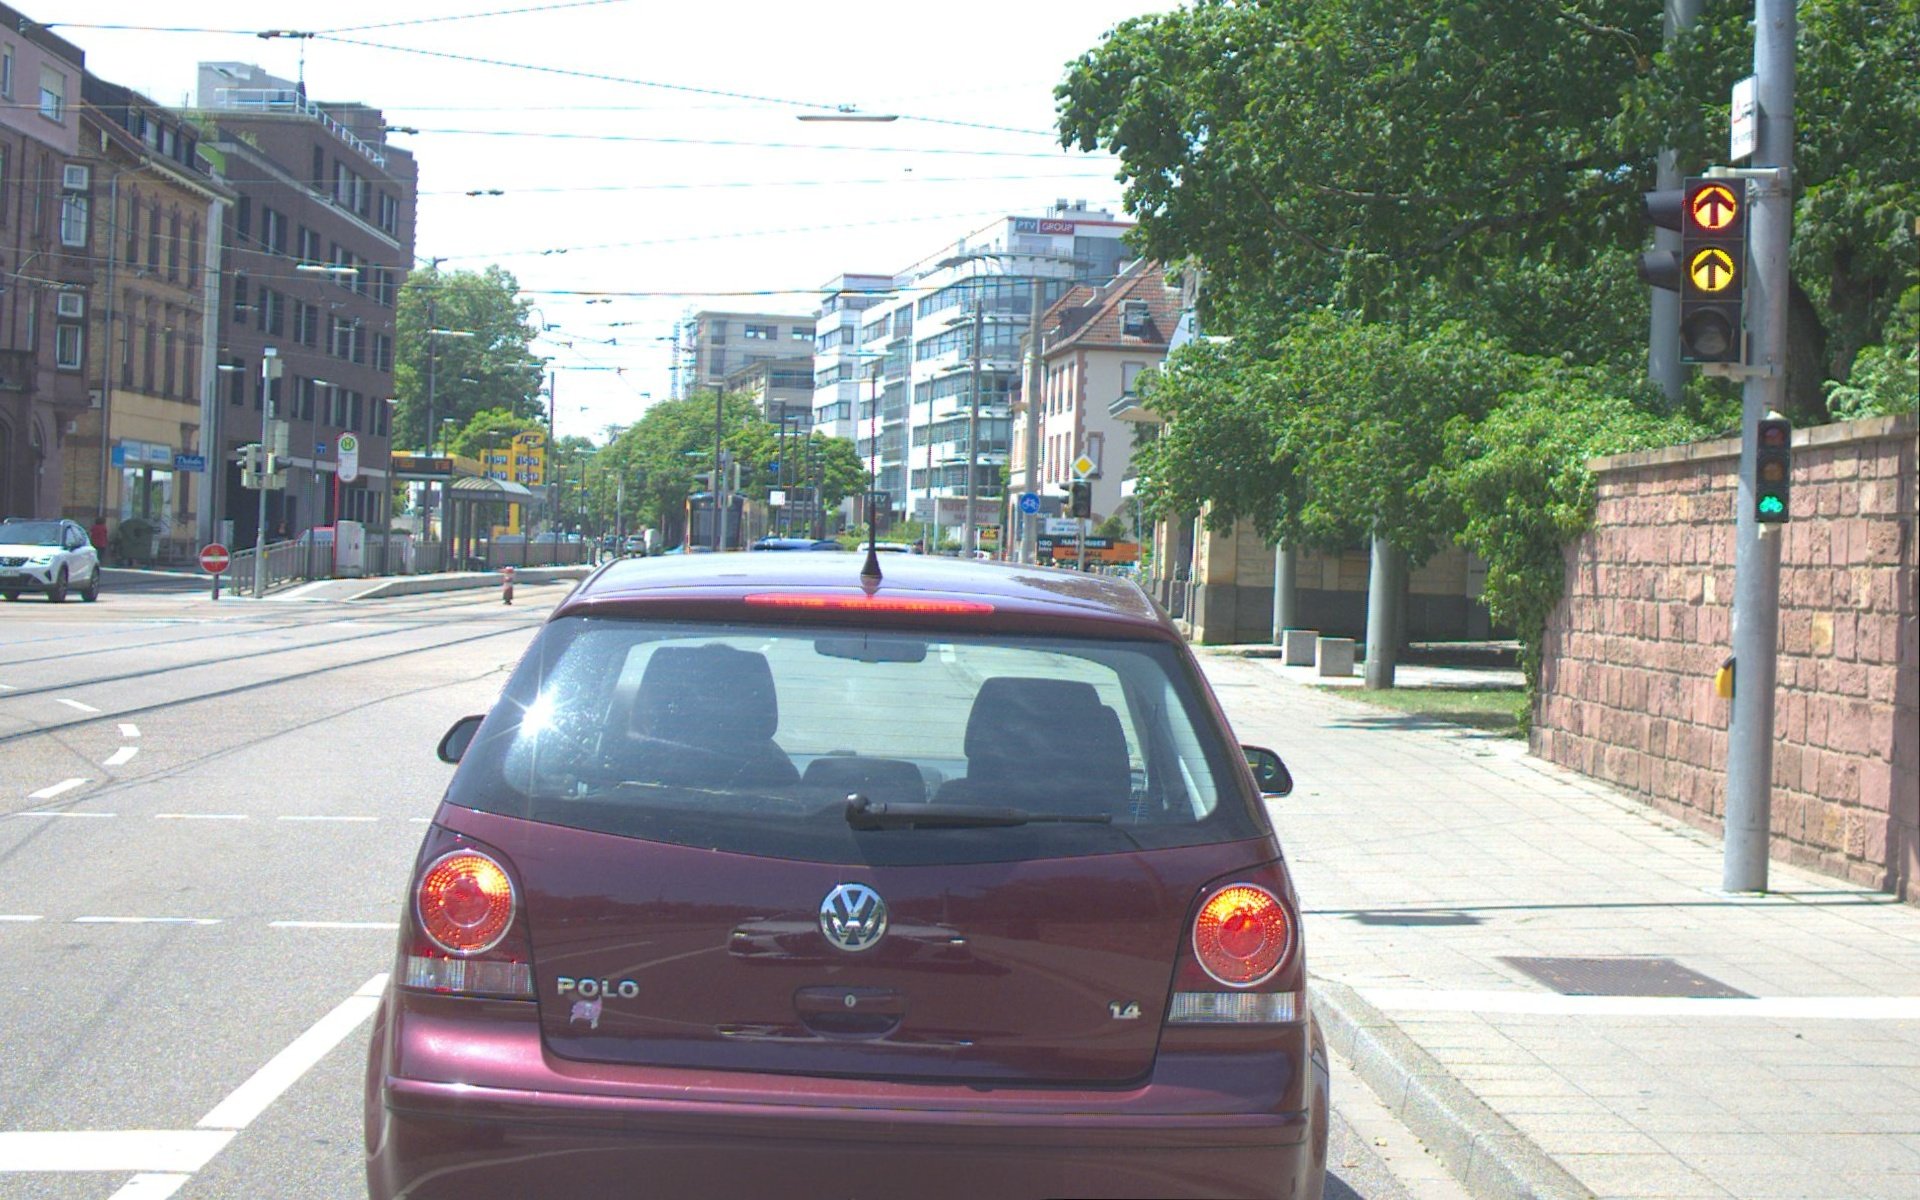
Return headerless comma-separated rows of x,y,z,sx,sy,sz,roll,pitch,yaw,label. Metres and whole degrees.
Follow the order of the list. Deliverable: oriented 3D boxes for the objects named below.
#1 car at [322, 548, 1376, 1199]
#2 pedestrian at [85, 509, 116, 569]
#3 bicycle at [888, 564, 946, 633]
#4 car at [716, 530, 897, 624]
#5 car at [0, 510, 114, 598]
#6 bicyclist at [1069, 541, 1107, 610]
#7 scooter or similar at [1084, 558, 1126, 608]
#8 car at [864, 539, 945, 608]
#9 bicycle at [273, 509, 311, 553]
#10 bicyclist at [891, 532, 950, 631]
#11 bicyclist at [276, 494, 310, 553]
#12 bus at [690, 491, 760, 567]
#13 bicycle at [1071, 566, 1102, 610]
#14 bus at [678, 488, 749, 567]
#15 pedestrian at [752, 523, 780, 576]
-0.219,0.654,6.740,1.561,1.448,3.062,2,1,-2,car
-22.604,-1.605,90.444,0.614,1.555,0.640,2,1,-1,pedestrian
-0.761,-0.040,61.585,0.376,1.193,1.903,2,1,19,bicycle
-2.821,-0.434,64.366,1.995,1.619,4.628,2,1,15,car
-17.231,-0.884,63.852,1.993,1.547,4.139,2,1,-1,car
3.112,-0.604,83.410,0.832,1.612,0.860,-2,2,0,bicyclist
3.544,-0.415,84.248,0.339,1.174,1.468,2,1,-25,scooter or similar
-1.292,-0.644,81.495,1.823,1.525,4.000,2,1,0,car
-20.359,-2.104,104.830,0.677,1.300,2.105,3,1,0,bicycle
-0.707,-0.335,61.878,0.728,1.754,0.923,2,1,19,bicyclist
-20.346,-2.332,104.883,0.732,1.756,1.135,3,1,0,bicyclist
-9.765,-2.947,143.350,2.233,2.993,6.594,2,1,1,bus
3.054,-0.299,83.277,0.668,0.999,1.864,-2,1,0,bicycle
-9.764,-2.881,136.773,2.145,2.993,6.573,2,1,1,bus
-6.212,-1.630,110.268,0.763,1.669,1.100,2,1,0,pedestrian
